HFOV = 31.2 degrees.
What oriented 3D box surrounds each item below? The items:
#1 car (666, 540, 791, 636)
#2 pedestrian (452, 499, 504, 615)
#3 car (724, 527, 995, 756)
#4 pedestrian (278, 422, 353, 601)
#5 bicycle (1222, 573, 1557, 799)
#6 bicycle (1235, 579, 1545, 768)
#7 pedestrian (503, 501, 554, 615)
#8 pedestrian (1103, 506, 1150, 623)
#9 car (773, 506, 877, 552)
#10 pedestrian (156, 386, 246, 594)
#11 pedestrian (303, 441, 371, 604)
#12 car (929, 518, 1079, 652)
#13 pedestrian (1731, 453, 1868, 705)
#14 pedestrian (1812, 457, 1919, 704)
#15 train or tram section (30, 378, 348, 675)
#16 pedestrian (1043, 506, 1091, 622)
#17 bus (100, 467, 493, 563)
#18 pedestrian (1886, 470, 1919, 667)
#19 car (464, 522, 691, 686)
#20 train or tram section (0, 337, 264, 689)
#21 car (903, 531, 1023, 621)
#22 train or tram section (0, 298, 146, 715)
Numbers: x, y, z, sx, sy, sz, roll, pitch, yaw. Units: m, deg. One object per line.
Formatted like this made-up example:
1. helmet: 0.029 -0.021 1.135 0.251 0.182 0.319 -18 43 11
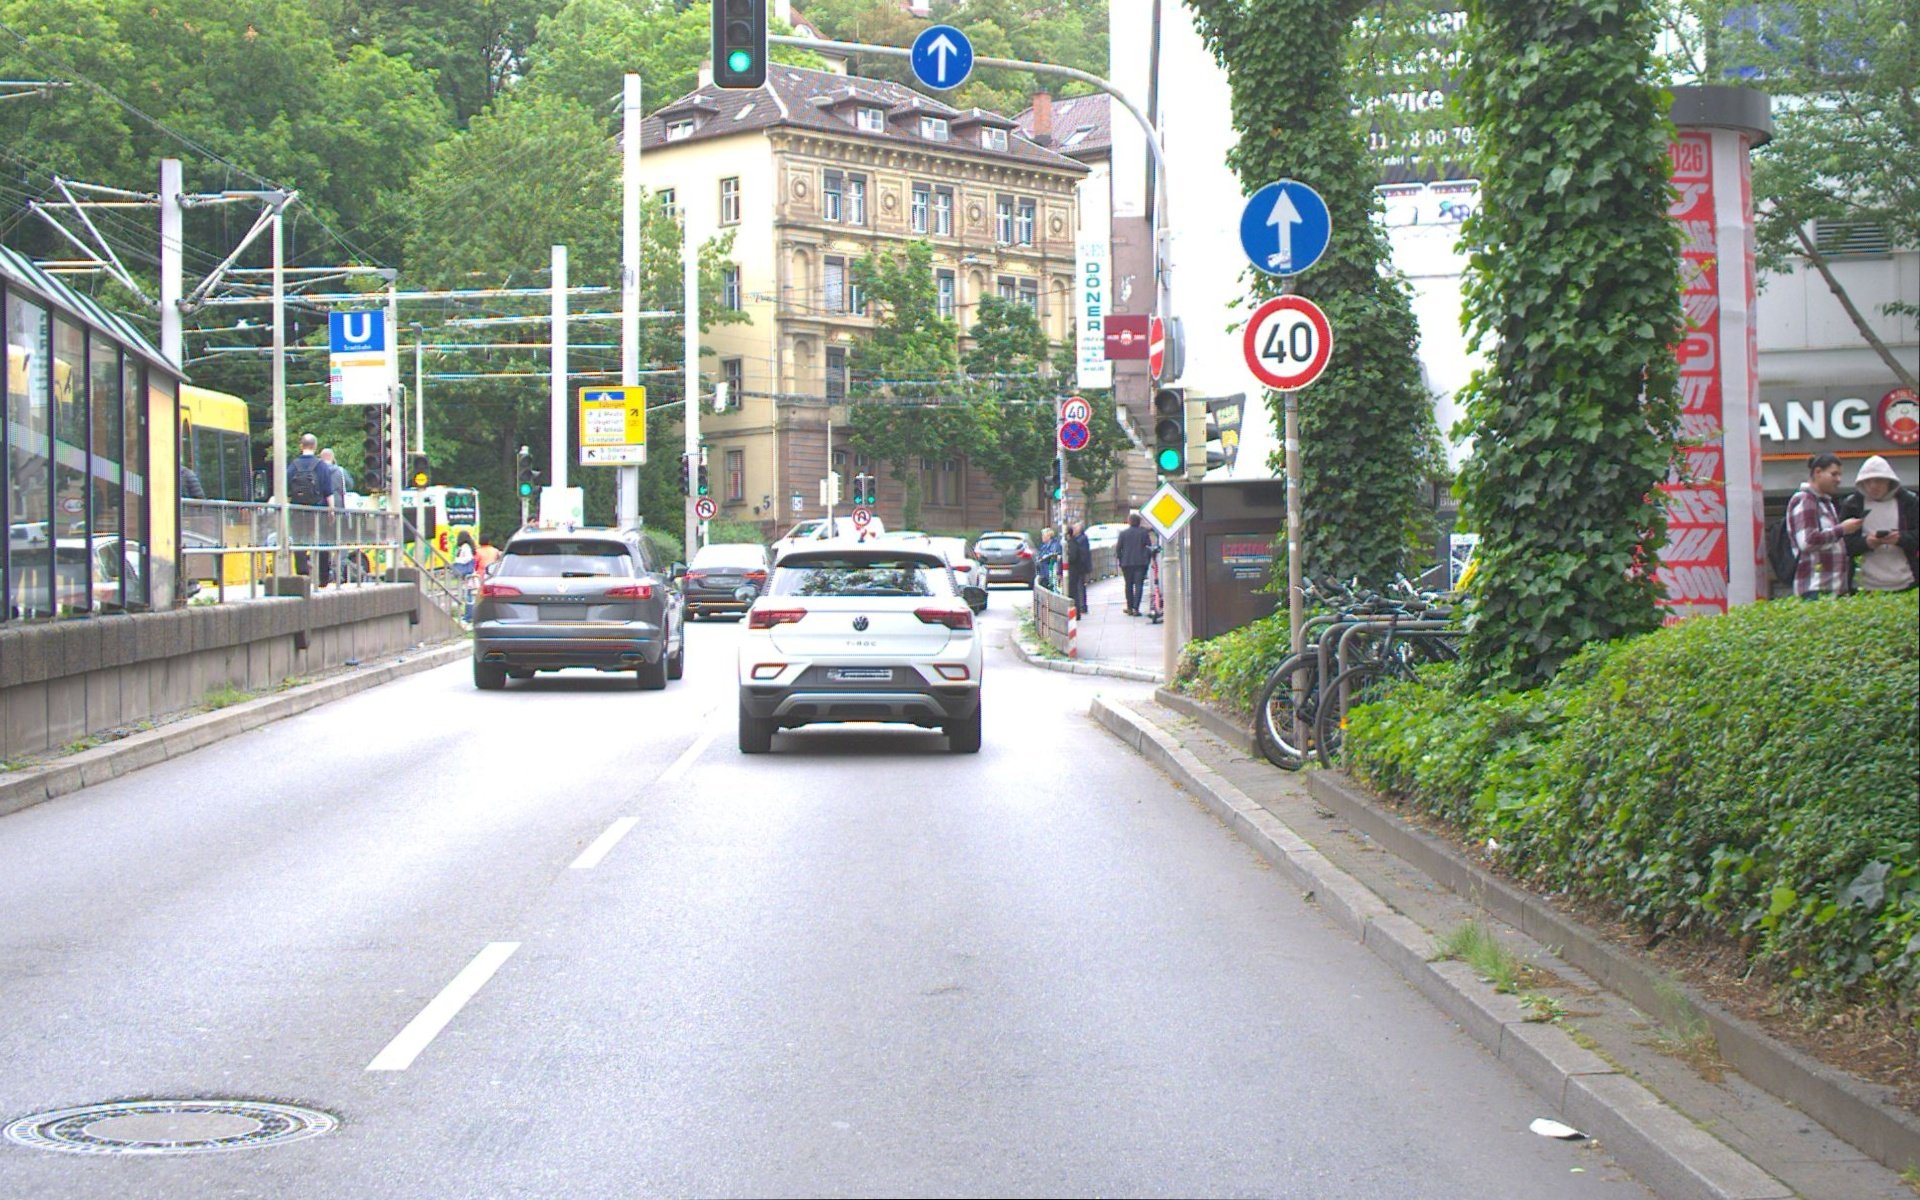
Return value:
1. car: -4.273 -0.252 64.045 1.912 1.683 4.000 1 1 2
2. pedestrian: -8.507 -0.755 60.711 0.762 2.007 0.838 1 -1 0
3. car: -0.684 0.273 26.181 1.837 1.578 4.157 -1 1 1
4. pedestrian: -7.393 -1.006 39.482 0.762 2.007 0.838 1 -1 -7
5. bicycle: 2.516 0.493 20.049 1.882 1.262 0.764 1 -1 11
6. bicycle: 2.683 0.456 21.540 1.881 1.133 0.808 1 -1 6
7. pedestrian: -7.680 -0.737 61.212 0.762 2.007 0.838 1 -1 0
8. pedestrian: 2.907 -0.612 59.956 0.762 2.007 0.838 1 -1 5
9. car: -5.065 -2.665 129.334 1.916 1.683 3.992 2 1 34
10. pedestrian: -7.515 -1.075 34.063 0.762 2.007 0.838 1 -1 -7
11. pedestrian: -7.815 -0.966 43.149 0.762 2.007 0.838 1 -1 -7
12. car: 0.542 -0.165 45.841 1.885 1.678 4.161 1 -1 0
13. pedestrian: 5.480 -0.129 22.460 0.635 1.610 0.588 1 -1 -20
14. pedestrian: 6.072 -0.122 22.700 0.635 1.603 0.588 1 -1 -20
15. train or tram section: -10.179 -0.927 46.077 2.813 3.654 6.751 1 0 -1
16. pedestrian: 1.885 -0.626 60.507 0.762 2.007 0.838 1 -1 5
17. bus: -22.506 -2.847 116.327 13.296 3.054 3.379 0 -1 22
18. pedestrian: 6.912 -0.212 23.992 0.635 1.364 0.588 1 -1 -20
19. car: -3.969 0.008 36.269 1.993 1.630 4.000 0 1 -1
20. train or tram section: -10.016 -0.935 39.307 2.813 3.654 6.751 1 0 -1
21. car: 0.020 -0.448 67.974 1.884 1.678 4.162 1 -1 -7
22. train or tram section: -9.876 -0.842 32.557 2.813 3.654 6.751 1 0 -1
